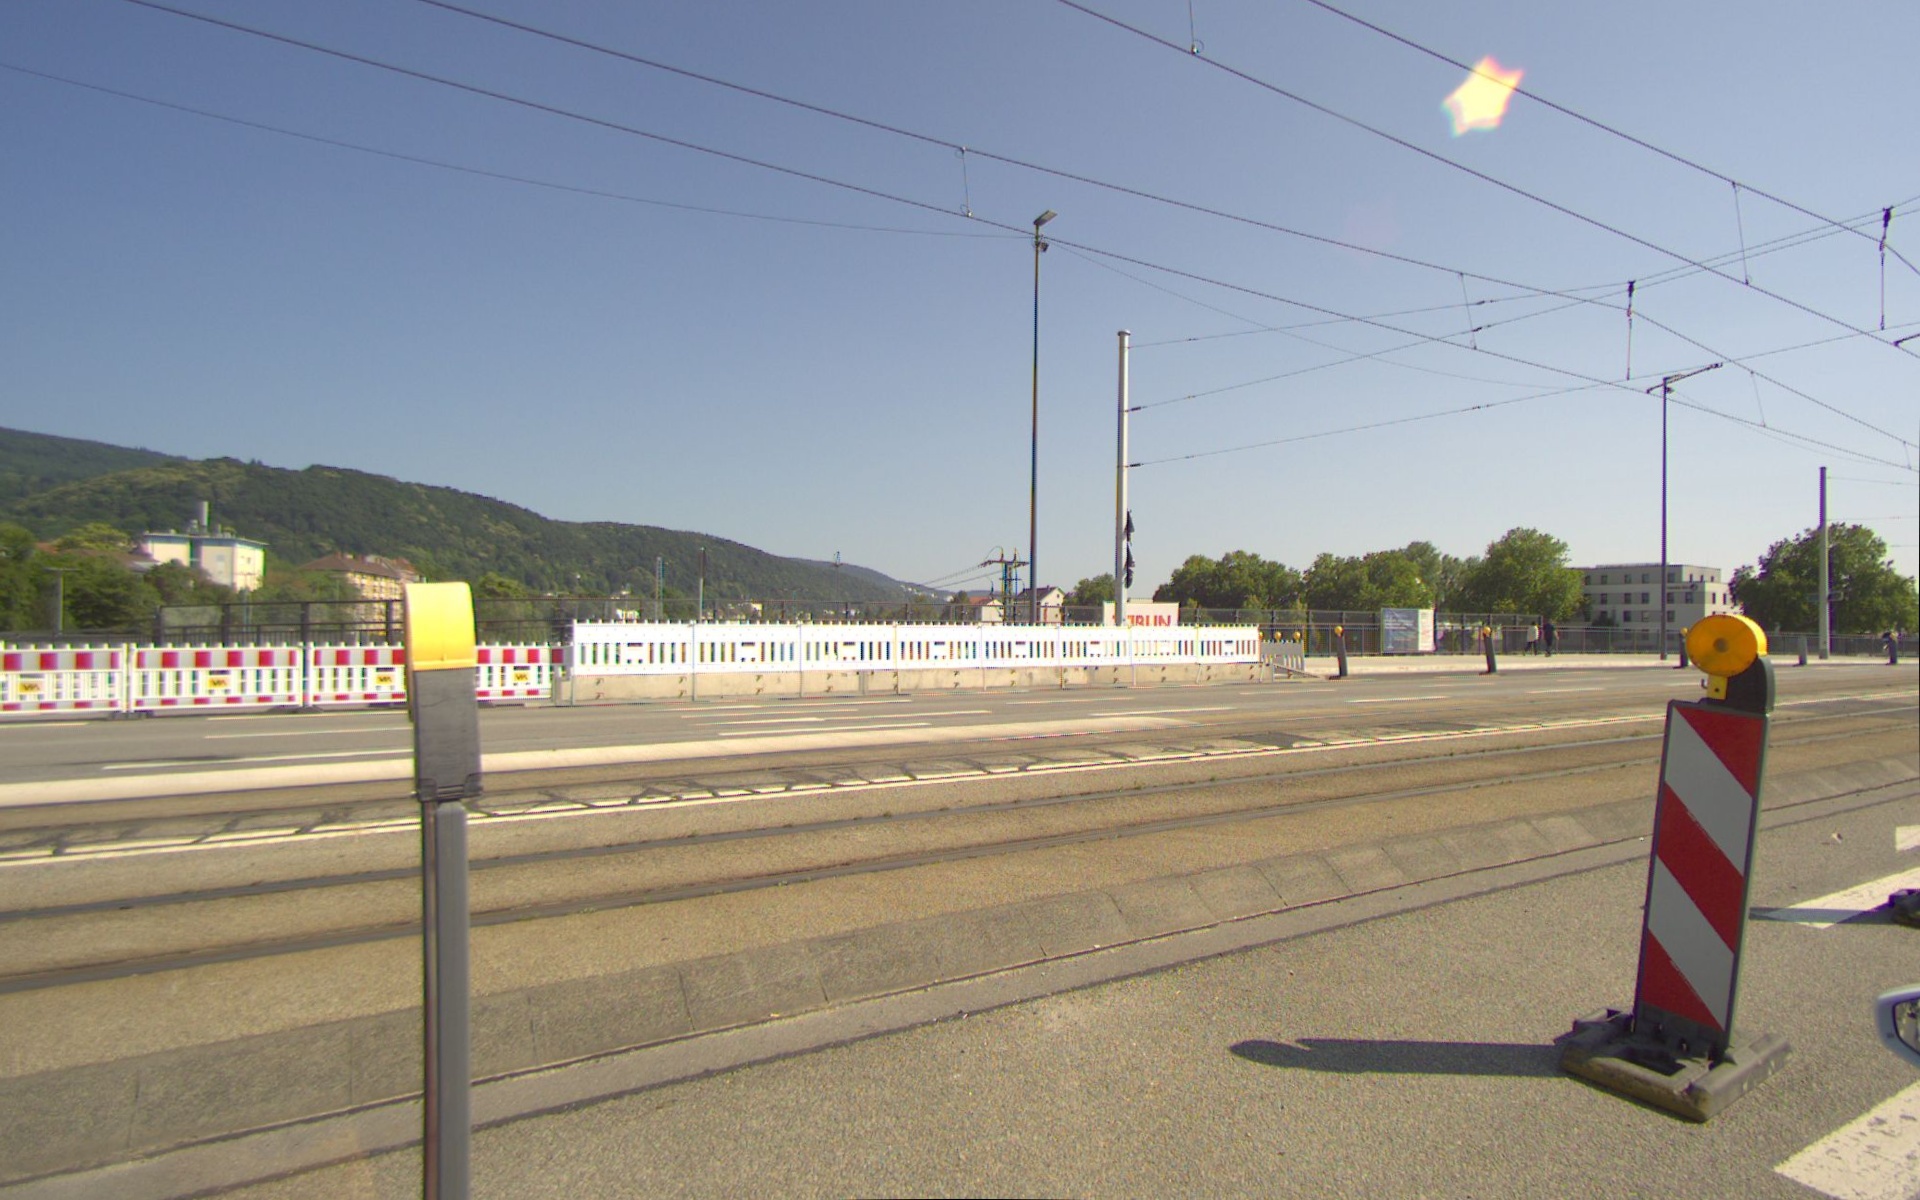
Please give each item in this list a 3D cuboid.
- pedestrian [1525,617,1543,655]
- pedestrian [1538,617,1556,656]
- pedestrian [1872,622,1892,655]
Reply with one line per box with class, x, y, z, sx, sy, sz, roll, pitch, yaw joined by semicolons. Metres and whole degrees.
pedestrian;25.933;1.620;45.403;0.468;1.717;0.493;2;0;-30
pedestrian;26.143;1.642;44.733;0.468;1.717;0.493;2;0;-30
pedestrian;53.689;2.228;58.476;0.743;1.919;0.631;1;0;-30
